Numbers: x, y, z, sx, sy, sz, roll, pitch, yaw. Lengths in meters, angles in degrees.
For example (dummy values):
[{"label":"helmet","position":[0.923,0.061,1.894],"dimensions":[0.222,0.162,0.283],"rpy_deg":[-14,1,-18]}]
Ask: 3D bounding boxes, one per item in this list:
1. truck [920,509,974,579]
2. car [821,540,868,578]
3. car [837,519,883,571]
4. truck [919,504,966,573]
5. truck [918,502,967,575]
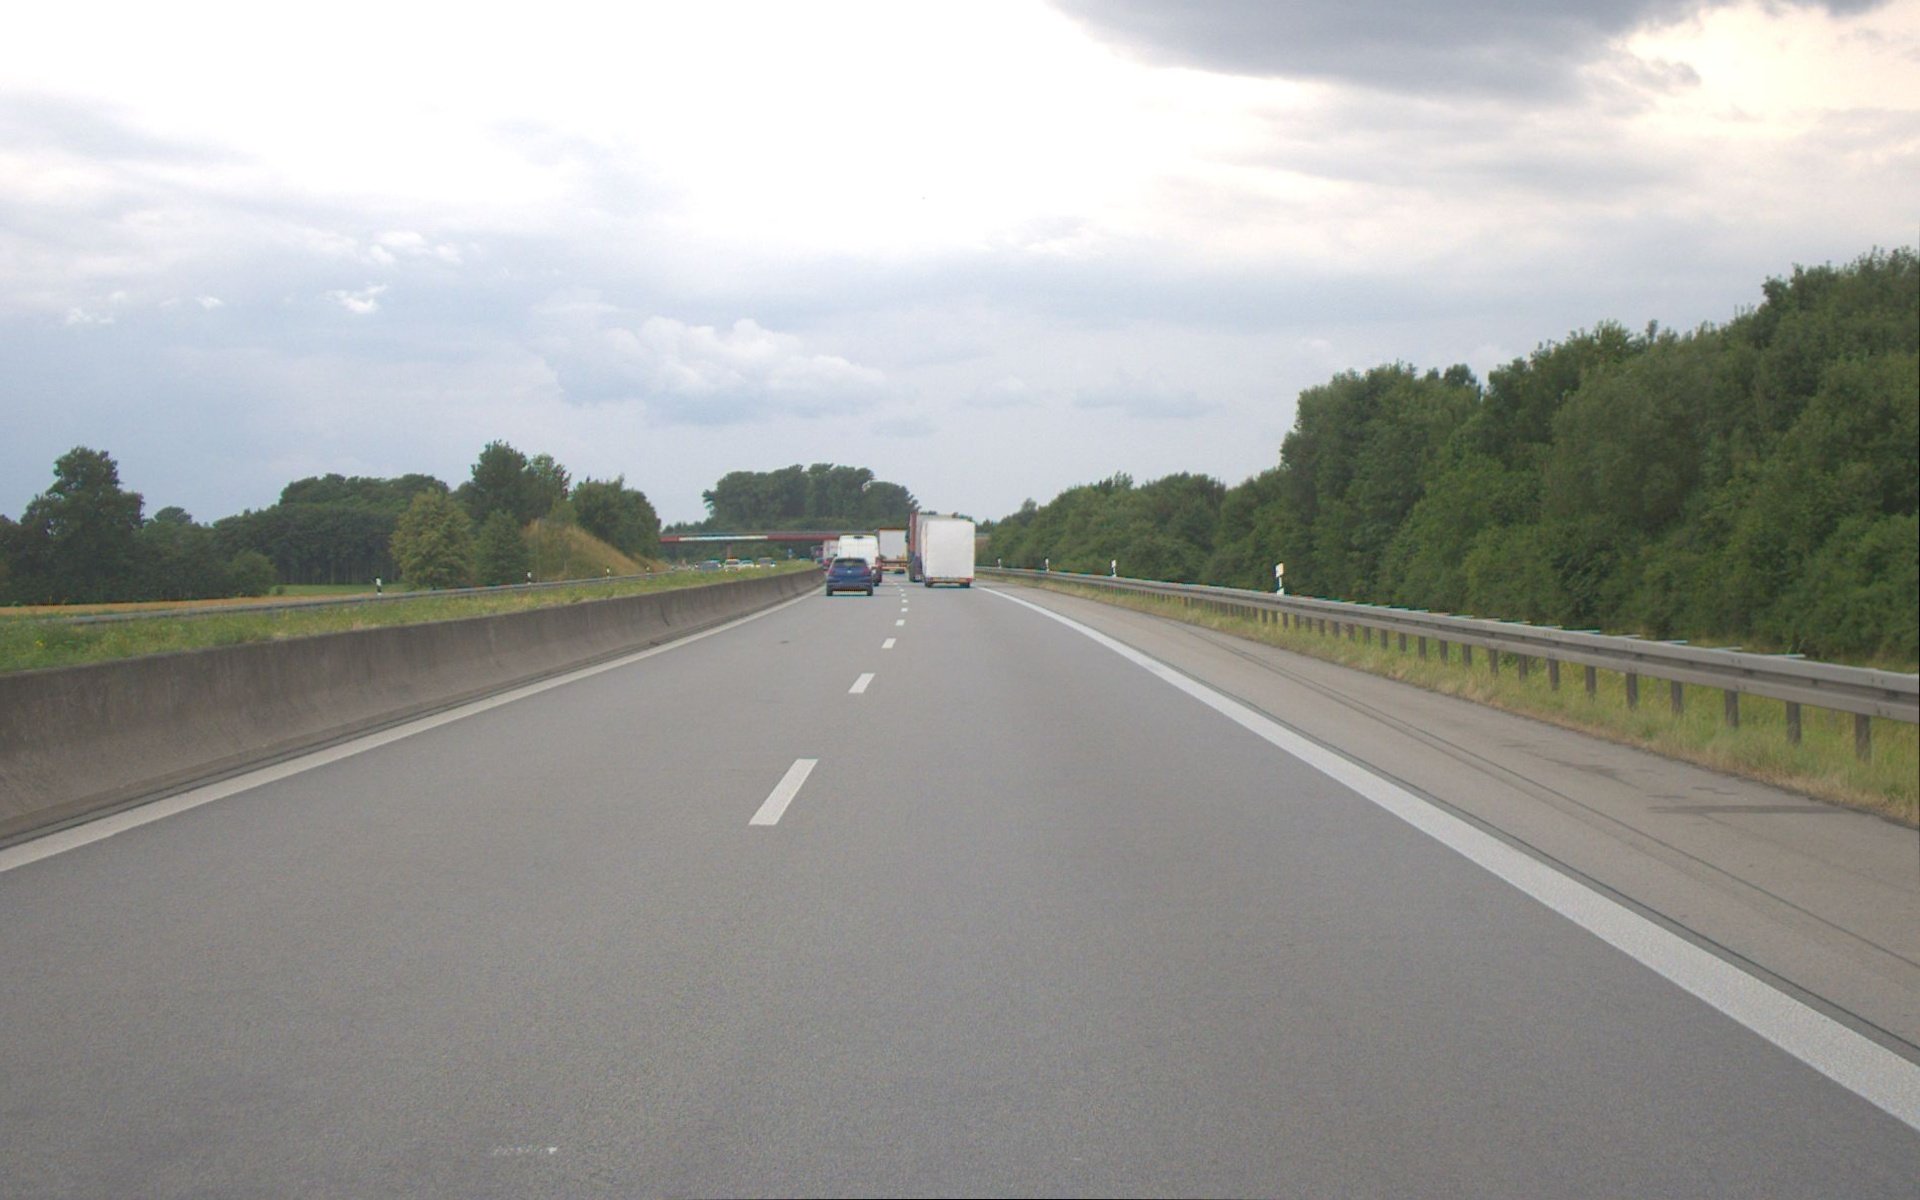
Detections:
[{"label":"truck","position":[-0.632,-2.580,161.095],"dimensions":[2.415,3.211,7.144],"rpy_deg":[0,0,-1]},{"label":"car","position":[-4.291,-1.518,127.380],"dimensions":[1.663,1.402,3.649],"rpy_deg":[0,1,-3]},{"label":"car","position":[-4.910,-2.694,169.649],"dimensions":[2.130,2.474,5.840],"rpy_deg":[-1,0,-1]},{"label":"truck","position":[-1.032,-3.632,203.289],"dimensions":[2.673,4.032,5.512],"rpy_deg":[-1,1,0]},{"label":"truck","position":[-0.988,-3.540,197.945],"dimensions":[2.673,4.032,11.108],"rpy_deg":[-1,1,0]}]
